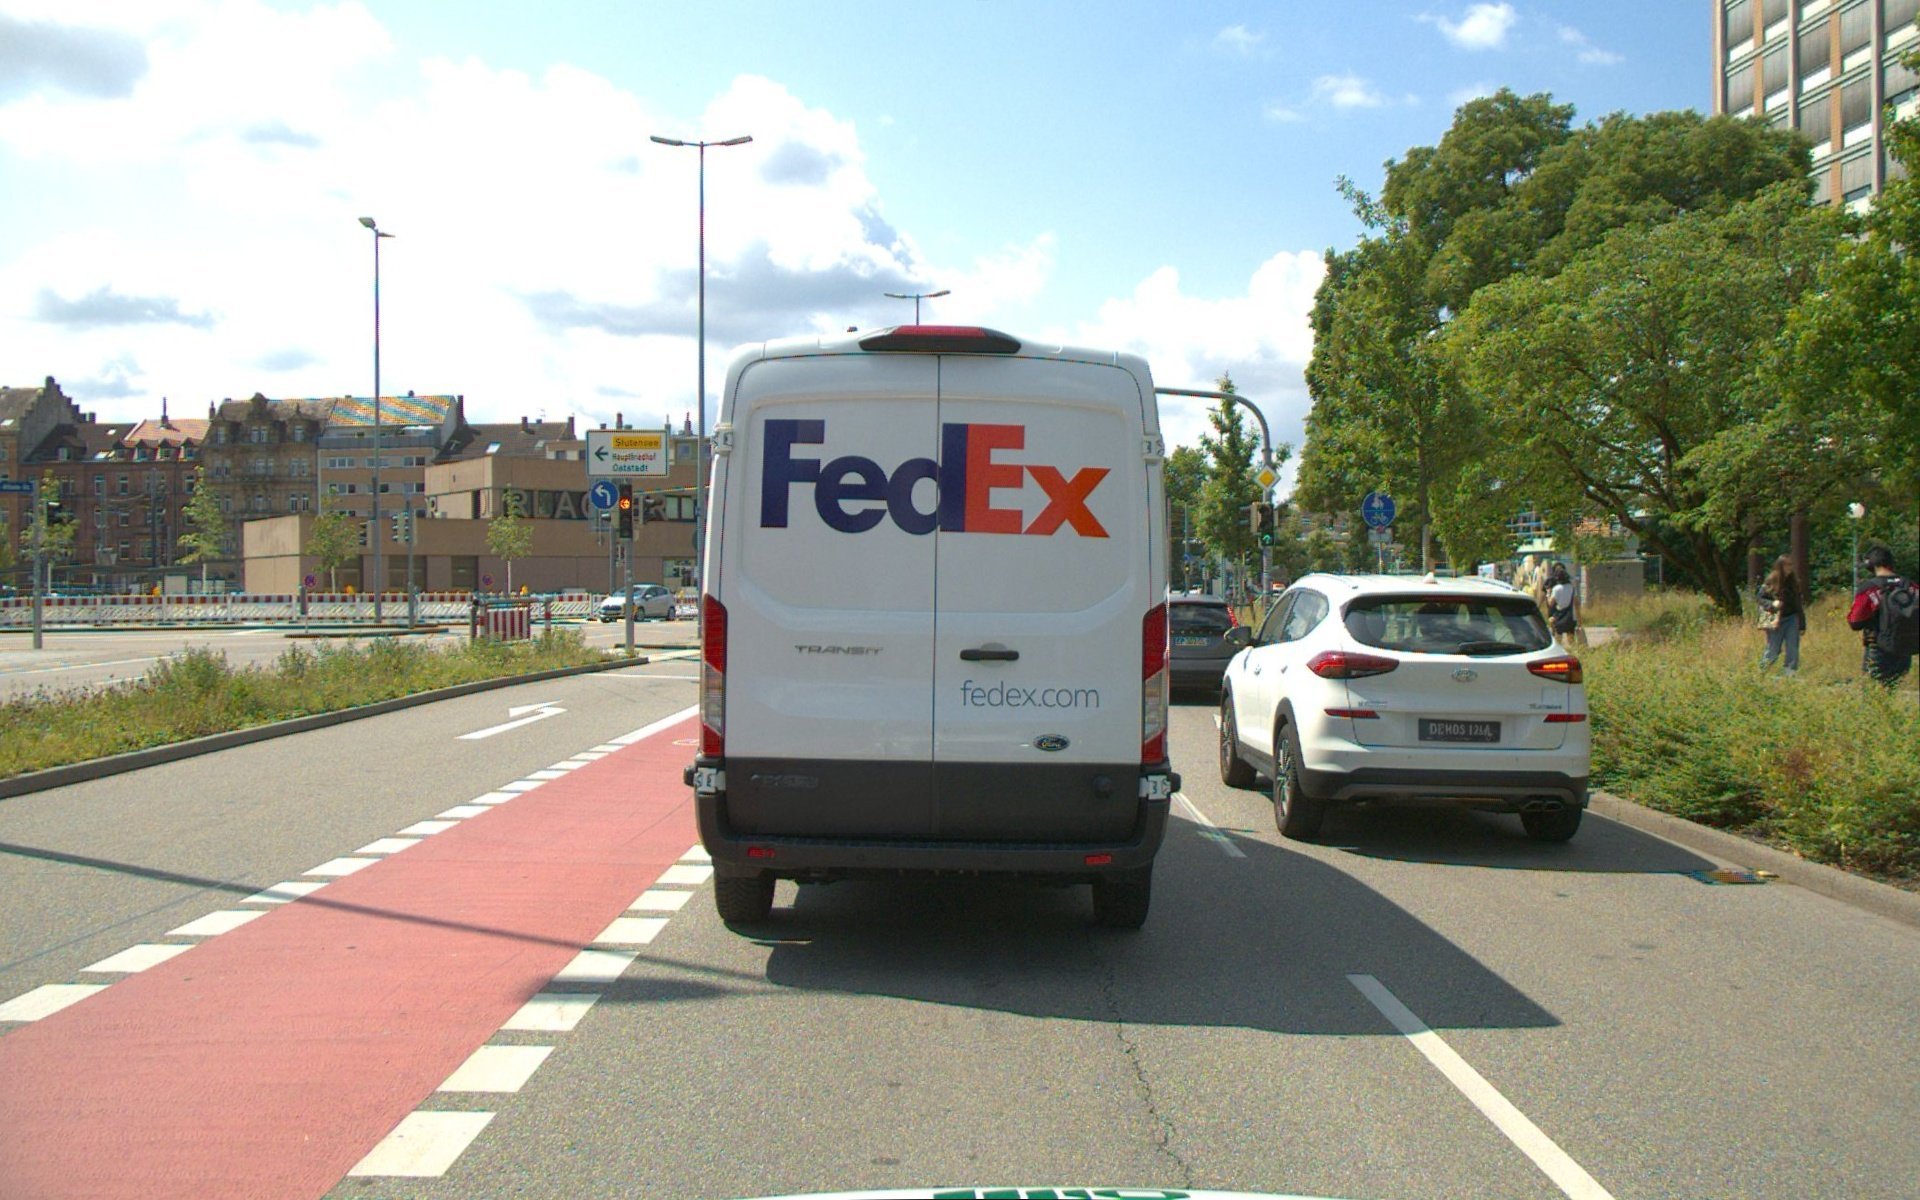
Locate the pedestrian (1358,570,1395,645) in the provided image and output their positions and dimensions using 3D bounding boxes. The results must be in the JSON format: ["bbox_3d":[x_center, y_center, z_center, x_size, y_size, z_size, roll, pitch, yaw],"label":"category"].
[{"bbox_3d":[10.044,0.174,39.892,0.653,1.777,0.609,-2,0,-7],"label":"pedestrian"}]

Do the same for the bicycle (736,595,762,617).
[{"bbox_3d":[-9.033,0.233,70.995,0.760,0.905,2.109,-1,1,2],"label":"bicycle"}]

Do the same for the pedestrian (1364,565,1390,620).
[{"bbox_3d":[14.221,-0.264,56.401,0.734,1.834,0.610,-2,0,6],"label":"pedestrian"}]

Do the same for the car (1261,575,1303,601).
[{"bbox_3d":[20.795,-0.793,106.770,1.843,1.670,3.955,0,1,24],"label":"car"}]

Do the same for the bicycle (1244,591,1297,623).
[{"bbox_3d":[11.068,0.250,58.932,1.771,1.068,0.592,-3,-1,6],"label":"bicycle"}]

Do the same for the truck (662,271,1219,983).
[{"bbox_3d":[-0.113,0.096,9.267,2.093,2.686,5.916,1,0,-1],"label":"truck"}]

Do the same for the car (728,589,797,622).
[{"bbox_3d":[-9.368,0.243,78.867,1.951,1.512,3.908,-1,1,15],"label":"car"}]

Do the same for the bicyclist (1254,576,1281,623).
[{"bbox_3d":[10.959,-0.026,58.945,0.810,1.629,0.580,-3,-1,6],"label":"bicyclist"}]

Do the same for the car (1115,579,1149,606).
[{"bbox_3d":[13.809,-0.579,132.854,1.951,2.049,4.125,1,0,17],"label":"car"}]

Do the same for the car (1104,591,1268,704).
[{"bbox_3d":[3.125,0.606,23.618,1.875,1.444,3.919,0,1,1],"label":"car"}]

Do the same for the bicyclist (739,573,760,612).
[{"bbox_3d":[-9.039,-0.315,71.049,0.760,1.647,0.843,-1,0,2],"label":"bicyclist"}]

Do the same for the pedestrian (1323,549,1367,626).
[{"bbox_3d":[9.232,-0.300,39.664,0.735,1.808,0.880,-2,0,-7],"label":"pedestrian"}]

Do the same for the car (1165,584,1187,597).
[{"bbox_3d":[28.103,-1.227,215.288,1.952,1.601,4.178,1,0,21],"label":"car"}]

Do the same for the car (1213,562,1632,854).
[{"bbox_3d":[2.984,0.599,11.636,1.842,1.670,4.233,0,1,1],"label":"car"}]

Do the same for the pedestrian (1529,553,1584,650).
[{"bbox_3d":[11.225,0.032,31.119,0.734,1.780,0.667,-2,0,-2],"label":"pedestrian"}]

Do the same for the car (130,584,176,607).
[{"bbox_3d":[-87.627,-0.463,179.606,4.020,2.384,2.001,1,0,5],"label":"car"}]

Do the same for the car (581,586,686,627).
[{"bbox_3d":[-12.869,0.271,65.389,1.956,1.534,4.010,1,0,29],"label":"car"}]

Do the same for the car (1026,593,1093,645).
[{"bbox_3d":[3.236,0.569,53.103,1.841,1.532,4.159,1,1,7],"label":"car"}]

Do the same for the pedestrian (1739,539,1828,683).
[{"bbox_3d":[10.502,0.128,21.119,0.653,1.780,0.878,-2,0,-1],"label":"pedestrian"}]

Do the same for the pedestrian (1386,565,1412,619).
[{"bbox_3d":[15.006,-0.275,56.561,0.734,1.783,0.610,-2,0,6],"label":"pedestrian"}]

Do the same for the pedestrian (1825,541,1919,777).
[{"bbox_3d":[7.340,0.436,12.940,0.653,1.780,0.848,-2,0,-1],"label":"pedestrian"}]

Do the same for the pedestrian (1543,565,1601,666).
[{"bbox_3d":[10.071,0.248,27.235,0.653,1.624,0.648,-2,0,-1],"label":"pedestrian"}]
